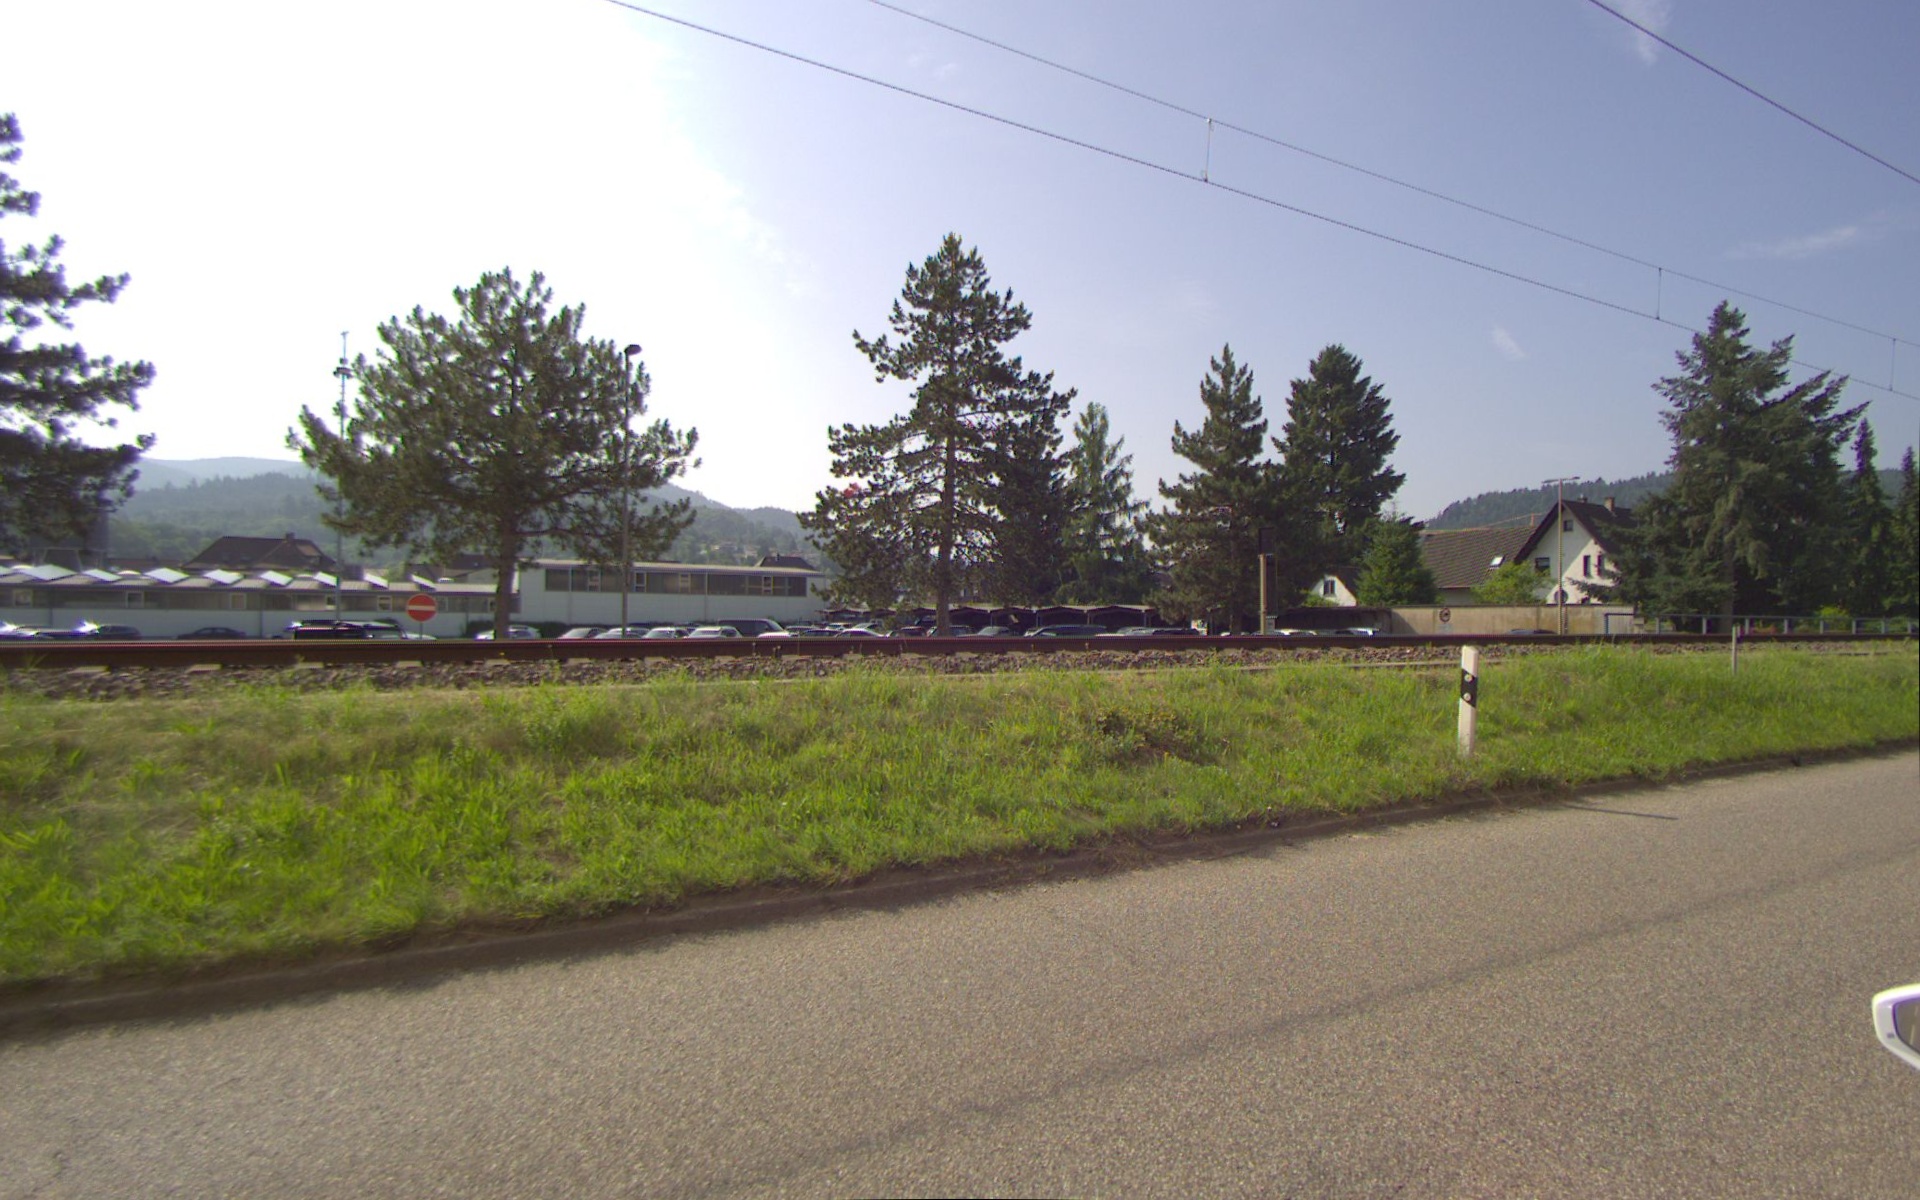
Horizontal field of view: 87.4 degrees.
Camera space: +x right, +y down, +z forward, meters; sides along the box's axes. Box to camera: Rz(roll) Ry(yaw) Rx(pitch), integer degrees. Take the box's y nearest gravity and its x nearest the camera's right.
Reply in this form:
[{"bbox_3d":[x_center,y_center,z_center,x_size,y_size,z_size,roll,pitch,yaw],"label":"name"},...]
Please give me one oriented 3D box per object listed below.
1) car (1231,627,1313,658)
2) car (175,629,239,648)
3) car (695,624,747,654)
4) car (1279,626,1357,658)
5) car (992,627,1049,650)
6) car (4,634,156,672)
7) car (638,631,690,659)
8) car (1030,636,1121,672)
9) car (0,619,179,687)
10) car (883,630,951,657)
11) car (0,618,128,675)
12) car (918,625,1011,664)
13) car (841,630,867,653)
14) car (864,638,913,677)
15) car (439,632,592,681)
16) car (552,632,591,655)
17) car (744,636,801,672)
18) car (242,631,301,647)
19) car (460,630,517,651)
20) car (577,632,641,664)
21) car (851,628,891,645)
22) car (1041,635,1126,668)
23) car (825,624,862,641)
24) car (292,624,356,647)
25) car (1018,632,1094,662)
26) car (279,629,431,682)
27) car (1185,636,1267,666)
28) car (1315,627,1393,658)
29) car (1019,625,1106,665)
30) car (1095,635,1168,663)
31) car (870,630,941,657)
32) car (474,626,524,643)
[{"bbox_3d":[16.959,2.297,54.706,1.802,1.557,3.956,1,-1,-38],"label":"car"},{"bbox_3d":[-53.567,2.745,71.554,3.498,1.343,1.445,1,-2,-32],"label":"car"},{"bbox_3d":[-11.026,1.781,46.568,1.428,1.342,3.538,0,-2,2],"label":"car"},{"bbox_3d":[20.755,2.390,58.338,1.802,1.688,3.956,1,-1,-38],"label":"car"},{"bbox_3d":[3.760,2.379,62.527,3.488,1.342,1.449,-2,-2,44],"label":"car"},{"bbox_3d":[-31.166,1.859,35.719,1.536,1.278,3.855,-1,-2,15],"label":"car"},{"bbox_3d":[-14.700,2.198,50.010,1.428,1.342,3.538,0,-2,2],"label":"car"},{"bbox_3d":[4.502,2.109,39.320,3.465,1.343,1.458,0,-2,6],"label":"car"},{"bbox_3d":[-23.236,1.357,26.561,1.654,1.664,3.855,0,-2,15],"label":"car"},{"bbox_3d":[-2.290,2.320,53.943,3.465,1.412,1.458,0,-2,6],"label":"car"},{"bbox_3d":[-26.267,1.303,28.473,1.654,1.526,3.855,0,-2,15],"label":"car"},{"bbox_3d":[0.228,1.782,40.808,3.642,1.518,1.683,0,-1,4],"label":"car"},{"bbox_3d":[-6.338,2.487,60.093,1.429,1.342,3.535,0,-2,-5],"label":"car"},{"bbox_3d":[-2.595,2.095,37.096,1.428,1.342,3.538,0,-2,2],"label":"car"},{"bbox_3d":[-12.871,1.615,29.162,3.779,1.343,1.566,0,-2,8],"label":"car"},{"bbox_3d":[-22.744,2.532,58.927,1.431,1.342,3.532,0,-2,-9],"label":"car"},{"bbox_3d":[-7.282,2.073,39.309,1.428,1.342,3.538,0,-2,2],"label":"car"},{"bbox_3d":[-50.438,2.830,73.614,3.498,1.125,1.327,1,-2,-32],"label":"car"},{"bbox_3d":[-33.817,2.890,72.092,3.402,1.465,1.578,0,-2,-9],"label":"car"},{"bbox_3d":[-15.493,2.112,44.487,1.428,1.342,3.538,0,-2,2],"label":"car"},{"bbox_3d":[-7.156,2.963,80.956,1.432,1.342,3.528,-1,-2,32],"label":"car"},{"bbox_3d":[5.118,2.121,41.736,3.465,1.343,1.458,0,-2,6],"label":"car"},{"bbox_3d":[-9.661,2.688,83.467,1.429,1.342,3.535,-1,-2,24],"label":"car"},{"bbox_3d":[-43.972,2.451,69.468,3.466,1.543,1.567,0,-2,2],"label":"car"},{"bbox_3d":[4.477,2.169,46.682,3.465,1.343,1.458,0,-2,6],"label":"car"},{"bbox_3d":[-16.404,1.478,27.298,3.450,1.375,1.520,0,-2,14],"label":"car"},{"bbox_3d":[12.166,2.341,46.064,3.465,1.343,1.458,0,-2,6],"label":"car"},{"bbox_3d":[23.322,2.471,59.569,1.802,1.688,3.956,1,-1,-38],"label":"car"},{"bbox_3d":[4.502,1.972,44.270,3.729,1.710,1.647,0,-1,5],"label":"car"},{"bbox_3d":[8.601,2.452,50.577,1.447,1.342,3.491,2,-2,-44],"label":"car"},{"bbox_3d":[-2.786,2.236,51.774,3.465,1.343,1.458,0,-2,6],"label":"car"},{"bbox_3d":[-37.259,2.762,81.241,3.498,1.343,1.445,1,-2,-32],"label":"car"}]
